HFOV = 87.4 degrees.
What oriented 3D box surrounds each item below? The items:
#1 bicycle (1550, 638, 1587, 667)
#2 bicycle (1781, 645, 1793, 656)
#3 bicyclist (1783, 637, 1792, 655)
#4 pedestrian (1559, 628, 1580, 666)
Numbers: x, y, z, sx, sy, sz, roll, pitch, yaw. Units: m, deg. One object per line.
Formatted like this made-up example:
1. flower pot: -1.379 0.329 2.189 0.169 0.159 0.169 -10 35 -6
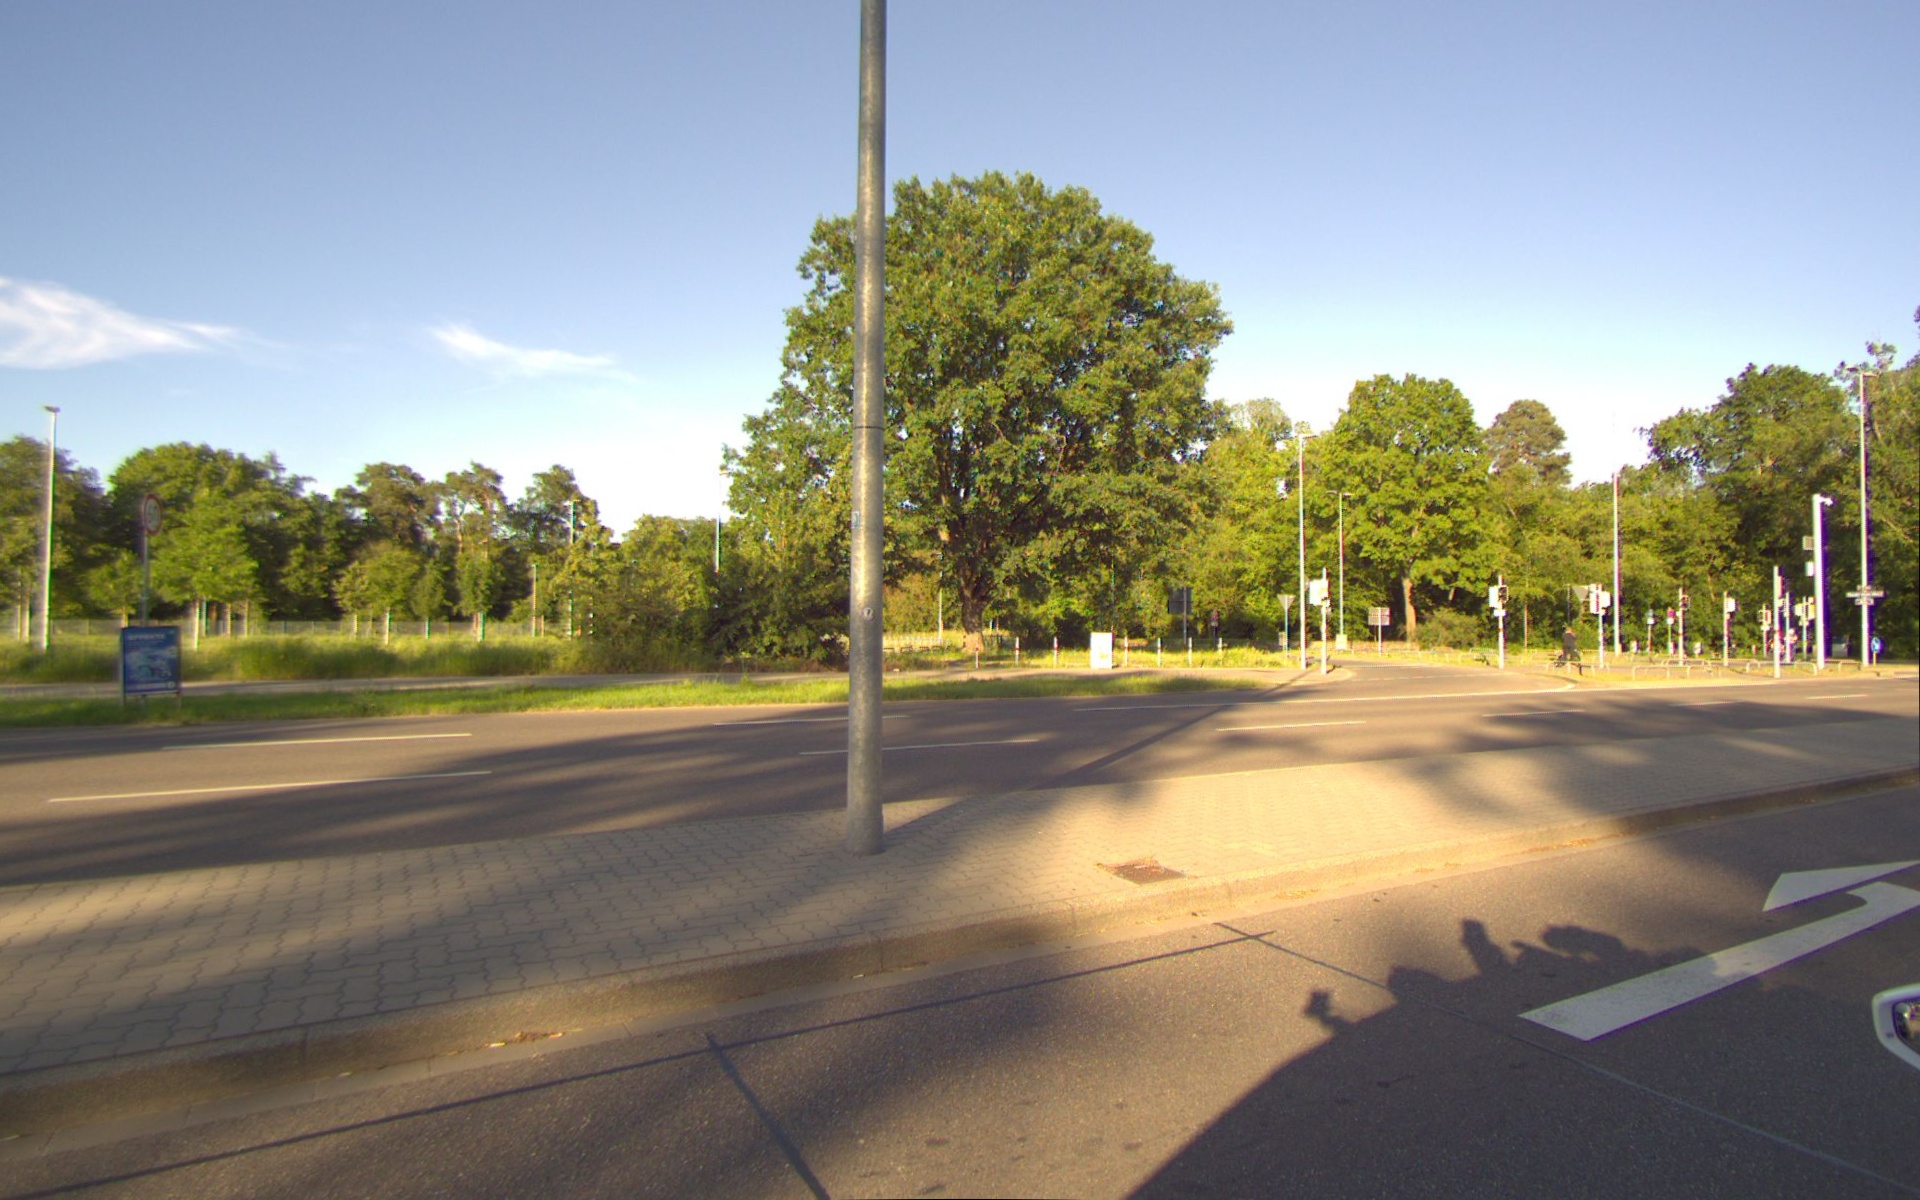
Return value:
1. bicycle: 25.825 2.232 42.621 1.980 1.193 0.466 2 0 -31
2. bicycle: 44.271 2.686 53.764 0.831 0.589 0.264 2 0 -36
3. bicyclist: 44.297 2.462 53.773 0.238 0.975 0.271 2 0 -34
4. pedestrian: 25.871 1.980 42.648 0.641 1.583 0.479 2 0 -30
